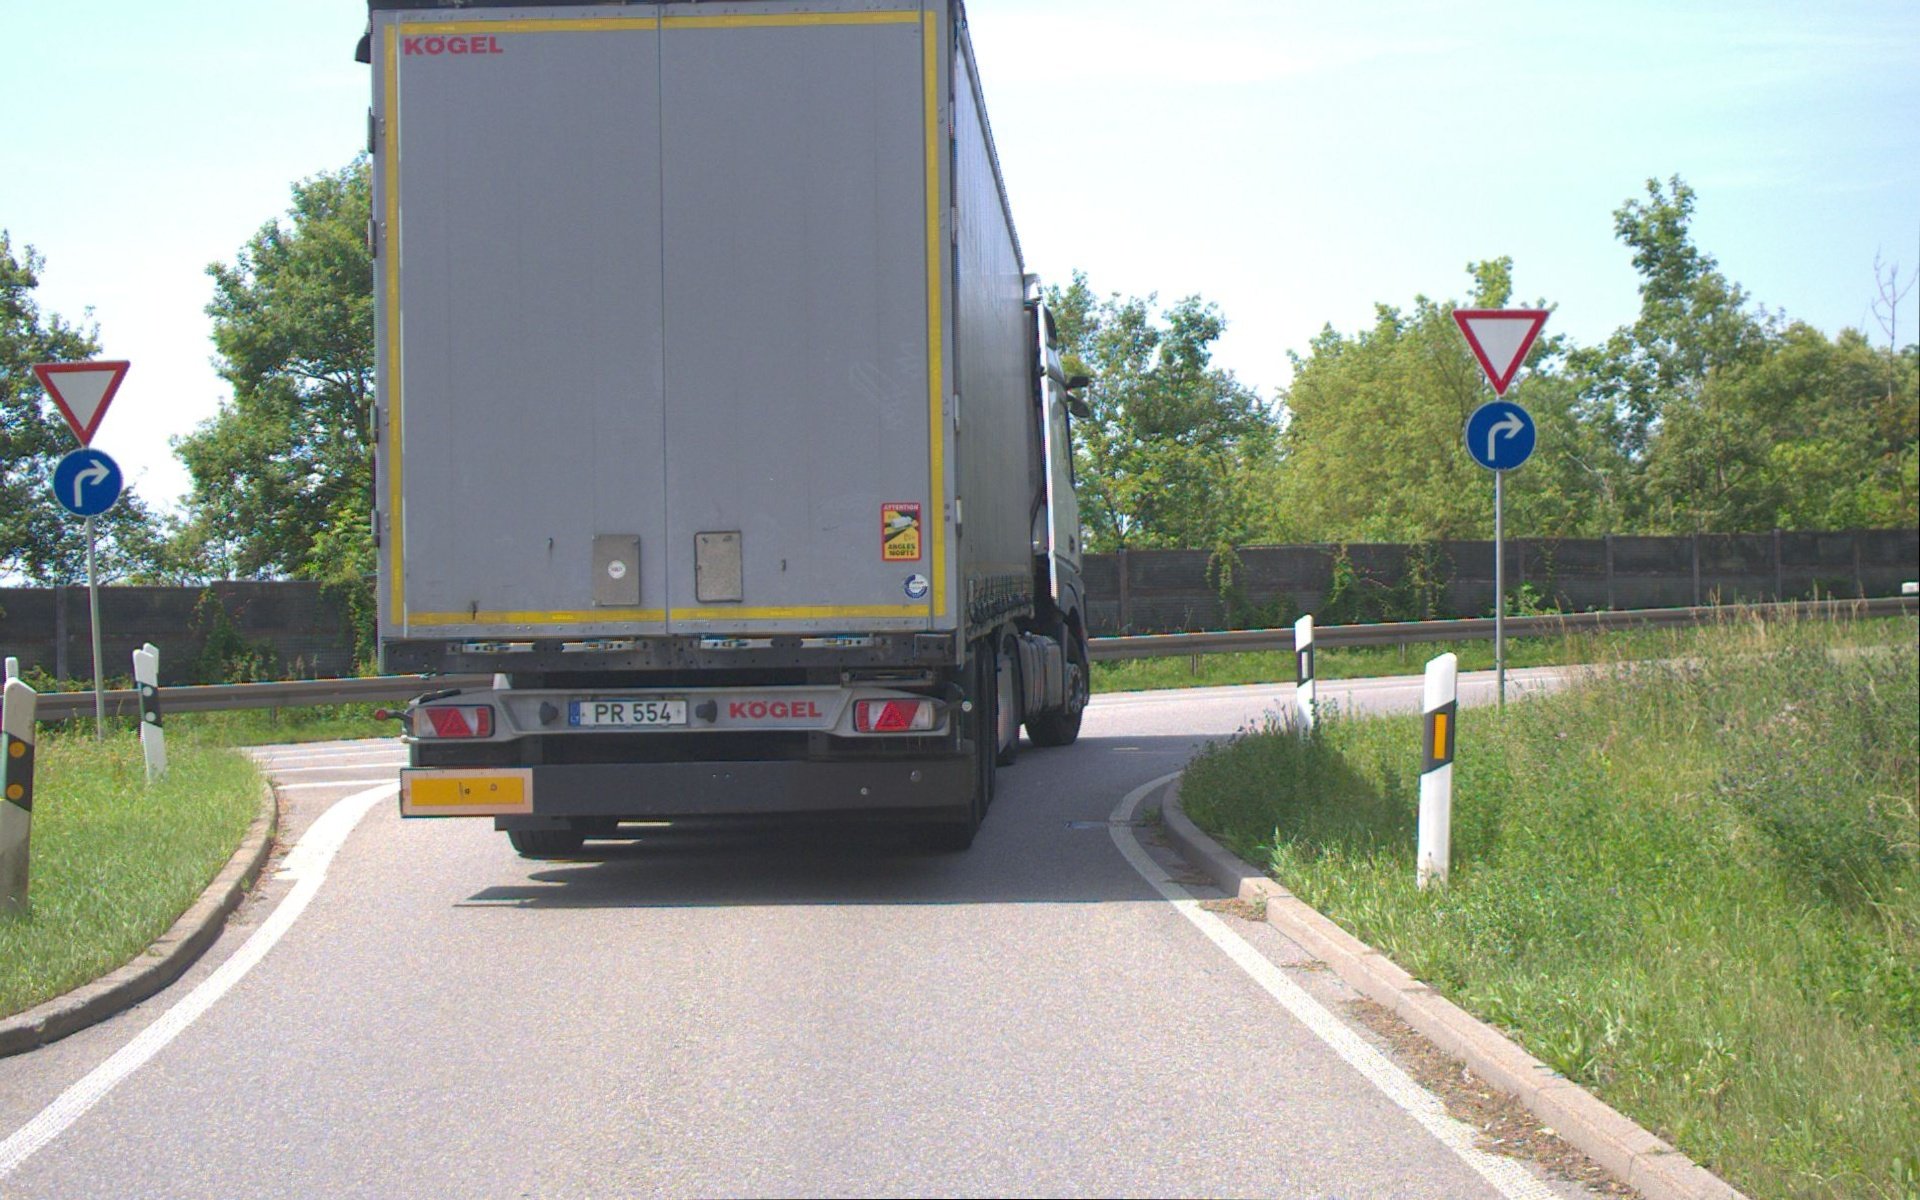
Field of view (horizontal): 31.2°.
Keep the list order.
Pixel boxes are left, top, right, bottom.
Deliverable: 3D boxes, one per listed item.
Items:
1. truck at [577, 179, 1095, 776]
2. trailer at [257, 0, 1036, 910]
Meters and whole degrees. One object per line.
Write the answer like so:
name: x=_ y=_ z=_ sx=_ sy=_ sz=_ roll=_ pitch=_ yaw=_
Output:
truck: x=-0.769 y=-0.841 z=28.193 sx=3.153 sy=4.210 sz=7.120 roll=-1 pitch=-1 yaw=6
trailer: x=-1.185 y=-0.749 z=21.172 sx=3.027 sy=4.021 sz=13.351 roll=-1 pitch=0 yaw=2
